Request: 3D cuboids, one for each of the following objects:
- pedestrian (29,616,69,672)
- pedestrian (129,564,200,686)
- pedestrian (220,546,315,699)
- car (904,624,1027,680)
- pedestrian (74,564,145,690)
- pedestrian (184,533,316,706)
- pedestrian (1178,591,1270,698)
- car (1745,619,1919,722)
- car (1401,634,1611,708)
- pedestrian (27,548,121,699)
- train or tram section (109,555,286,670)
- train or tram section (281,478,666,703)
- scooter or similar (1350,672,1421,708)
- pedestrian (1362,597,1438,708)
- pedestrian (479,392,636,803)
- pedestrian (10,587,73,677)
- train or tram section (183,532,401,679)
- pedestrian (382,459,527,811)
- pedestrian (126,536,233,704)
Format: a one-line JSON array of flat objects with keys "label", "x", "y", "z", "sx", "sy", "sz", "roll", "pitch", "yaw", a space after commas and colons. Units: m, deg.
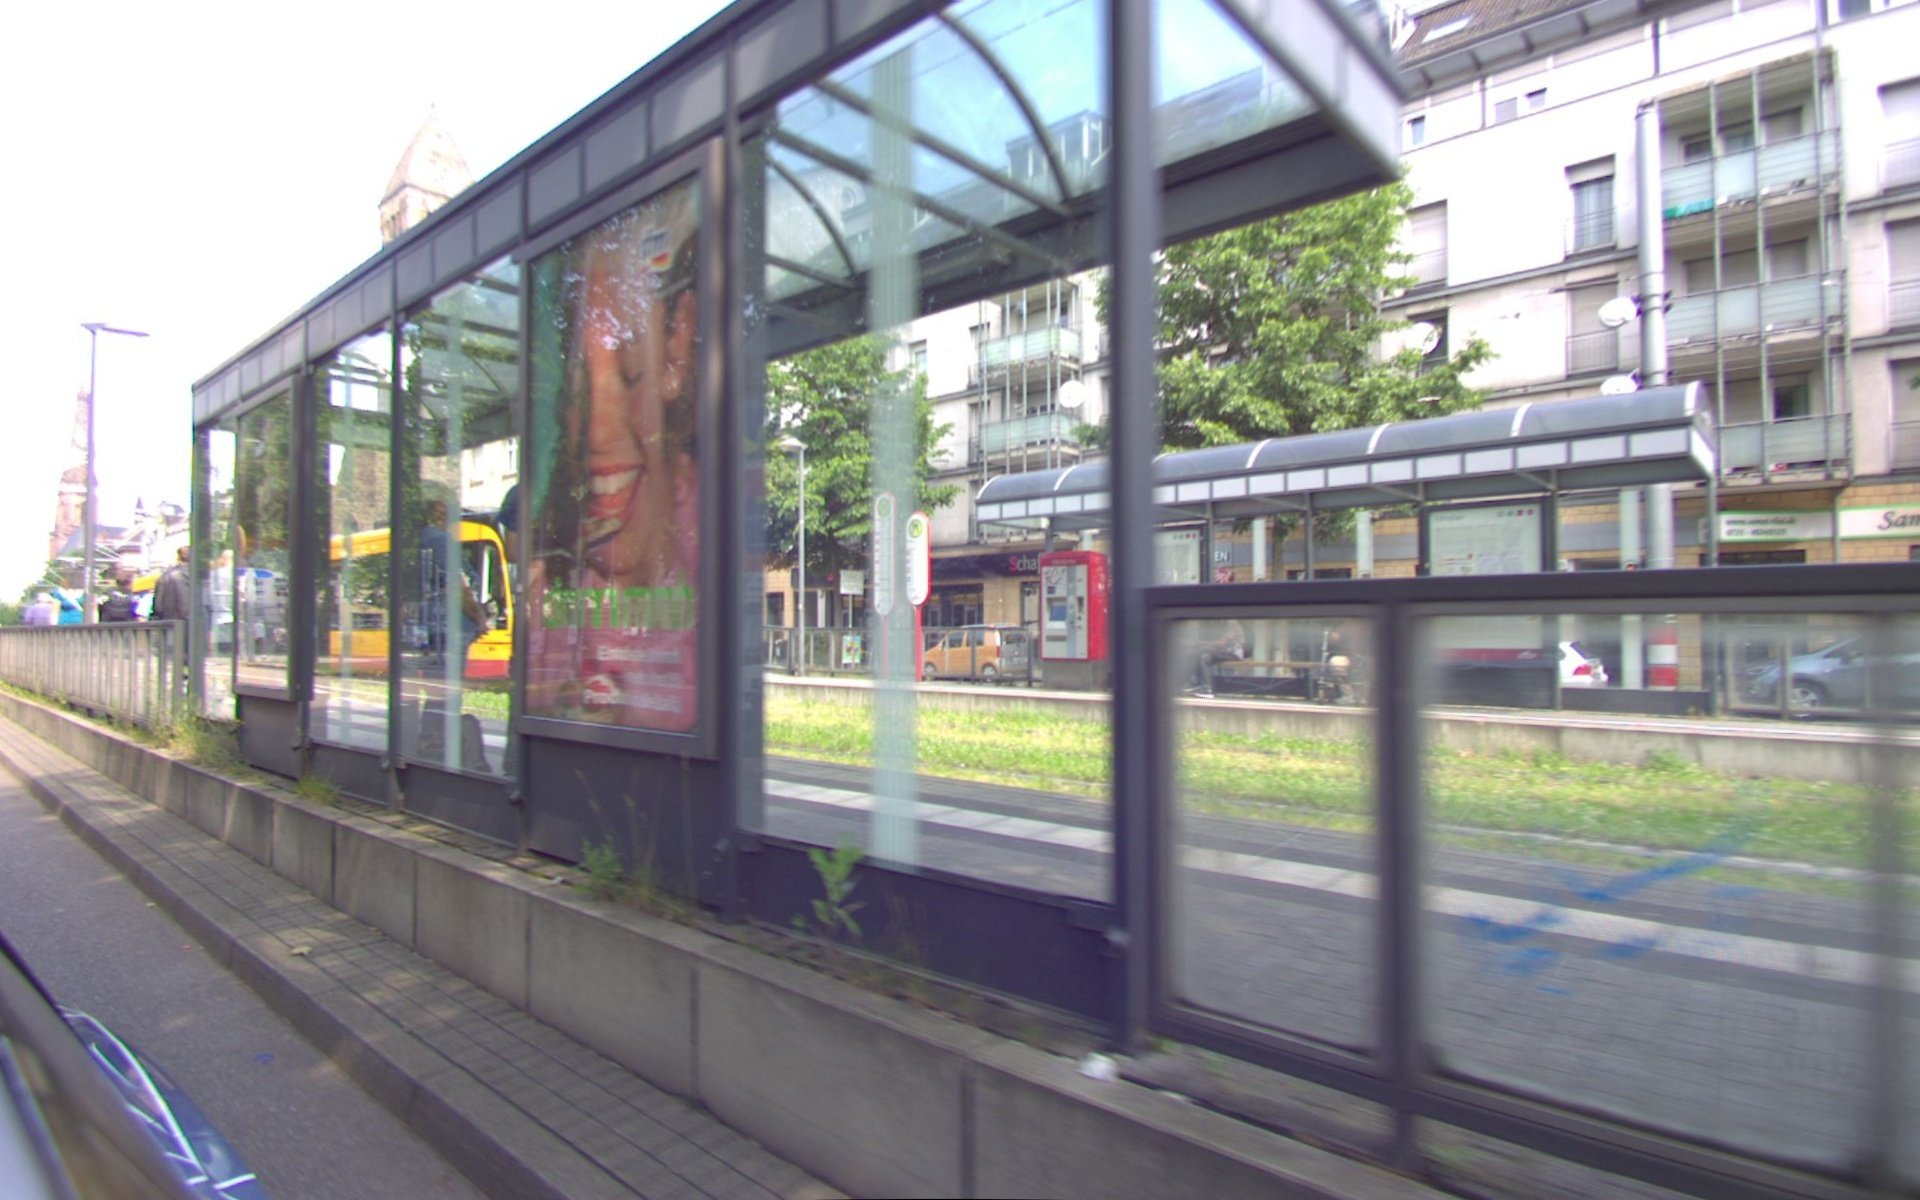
[{"label": "pedestrian", "x": -29.429, "y": 1.412, "z": 32.693, "sx": 1.045, "sy": 1.794, "sz": 0.839, "roll": -2, "pitch": -3, "yaw": 42}, {"label": "pedestrian", "x": -12.608, "y": 0.391, "z": 16.039, "sx": 0.907, "sy": 1.863, "sz": 0.694, "roll": -2, "pitch": -2, "yaw": 41}, {"label": "pedestrian", "x": -8.669, "y": 0.282, "z": 12.659, "sx": 1.132, "sy": 1.814, "sz": 0.704, "roll": -2, "pitch": -3, "yaw": 41}, {"label": "car", "x": 0.133, "y": 1.546, "z": 30.556, "sx": 3.474, "sy": 1.591, "sz": 1.636, "roll": -2, "pitch": -3, "yaw": 40}, {"label": "pedestrian", "x": -13.052, "y": 0.412, "z": 15.536, "sx": 0.789, "sy": 1.863, "sz": 0.694, "roll": -2, "pitch": -2, "yaw": 41}, {"label": "pedestrian", "x": -8.037, "y": 0.227, "z": 11.439, "sx": 1.494, "sy": 1.814, "sz": 0.877, "roll": -2, "pitch": -3, "yaw": 41}, {"label": "pedestrian", "x": 3.396, "y": 0.574, "z": 13.041, "sx": 0.878, "sy": 1.311, "sz": 0.821, "roll": -2, "pitch": -4, "yaw": 41}, {"label": "car", "x": 15.464, "y": 1.138, "z": 16.812, "sx": 3.690, "sy": 1.621, "sz": 1.701, "roll": -2, "pitch": -3, "yaw": 42}, {"label": "car", "x": 11.101, "y": 1.396, "z": 20.678, "sx": 3.476, "sy": 1.382, "sz": 1.701, "roll": -2, "pitch": -3, "yaw": 42}, {"label": "pedestrian", "x": -11.726, "y": 0.310, "z": 13.396, "sx": 0.846, "sy": 1.913, "sz": 0.818, "roll": -2, "pitch": -2, "yaw": 42}, {"label": "train or tram section", "x": -28.397, "y": 0.572, "z": 37.309, "sx": 13.012, "sy": 3.611, "sz": 2.777, "roll": -2, "pitch": -2, "yaw": 42}, {"label": "train or tram section", "x": -11.023, "y": 0.025, "z": 21.632, "sx": 13.012, "sy": 3.611, "sz": 2.694, "roll": -2, "pitch": -2, "yaw": 42}, {"label": "scooter or similar", "x": 4.685, "y": 0.981, "z": 11.147, "sx": 0.618, "sy": 0.369, "sz": 0.405, "roll": -2, "pitch": -4, "yaw": 41}, {"label": "pedestrian", "x": 5.050, "y": 0.600, "z": 11.618, "sx": 0.618, "sy": 1.223, "sz": 0.657, "roll": -2, "pitch": -4, "yaw": 41}, {"label": "pedestrian", "x": -1.982, "y": -0.006, "z": 5.019, "sx": 0.533, "sy": 1.915, "sz": 0.469, "roll": -1, "pitch": -2, "yaw": 17}, {"label": "pedestrian", "x": -18.939, "y": 0.655, "z": 20.867, "sx": 0.876, "sy": 1.788, "sz": 0.848, "roll": -2, "pitch": -2, "yaw": 42}, {"label": "train or tram section", "x": -19.696, "y": 0.281, "z": 29.456, "sx": 10.400, "sy": 3.611, "sz": 2.766, "roll": -2, "pitch": -2, "yaw": 42}, {"label": "pedestrian", "x": -2.548, "y": 0.171, "z": 5.104, "sx": 0.537, "sy": 1.654, "sz": 0.465, "roll": -2, "pitch": -3, "yaw": 41}, {"label": "pedestrian", "x": -9.266, "y": 0.245, "z": 12.018, "sx": 1.030, "sy": 1.887, "sz": 0.802, "roll": -2, "pitch": -3, "yaw": 41}]
